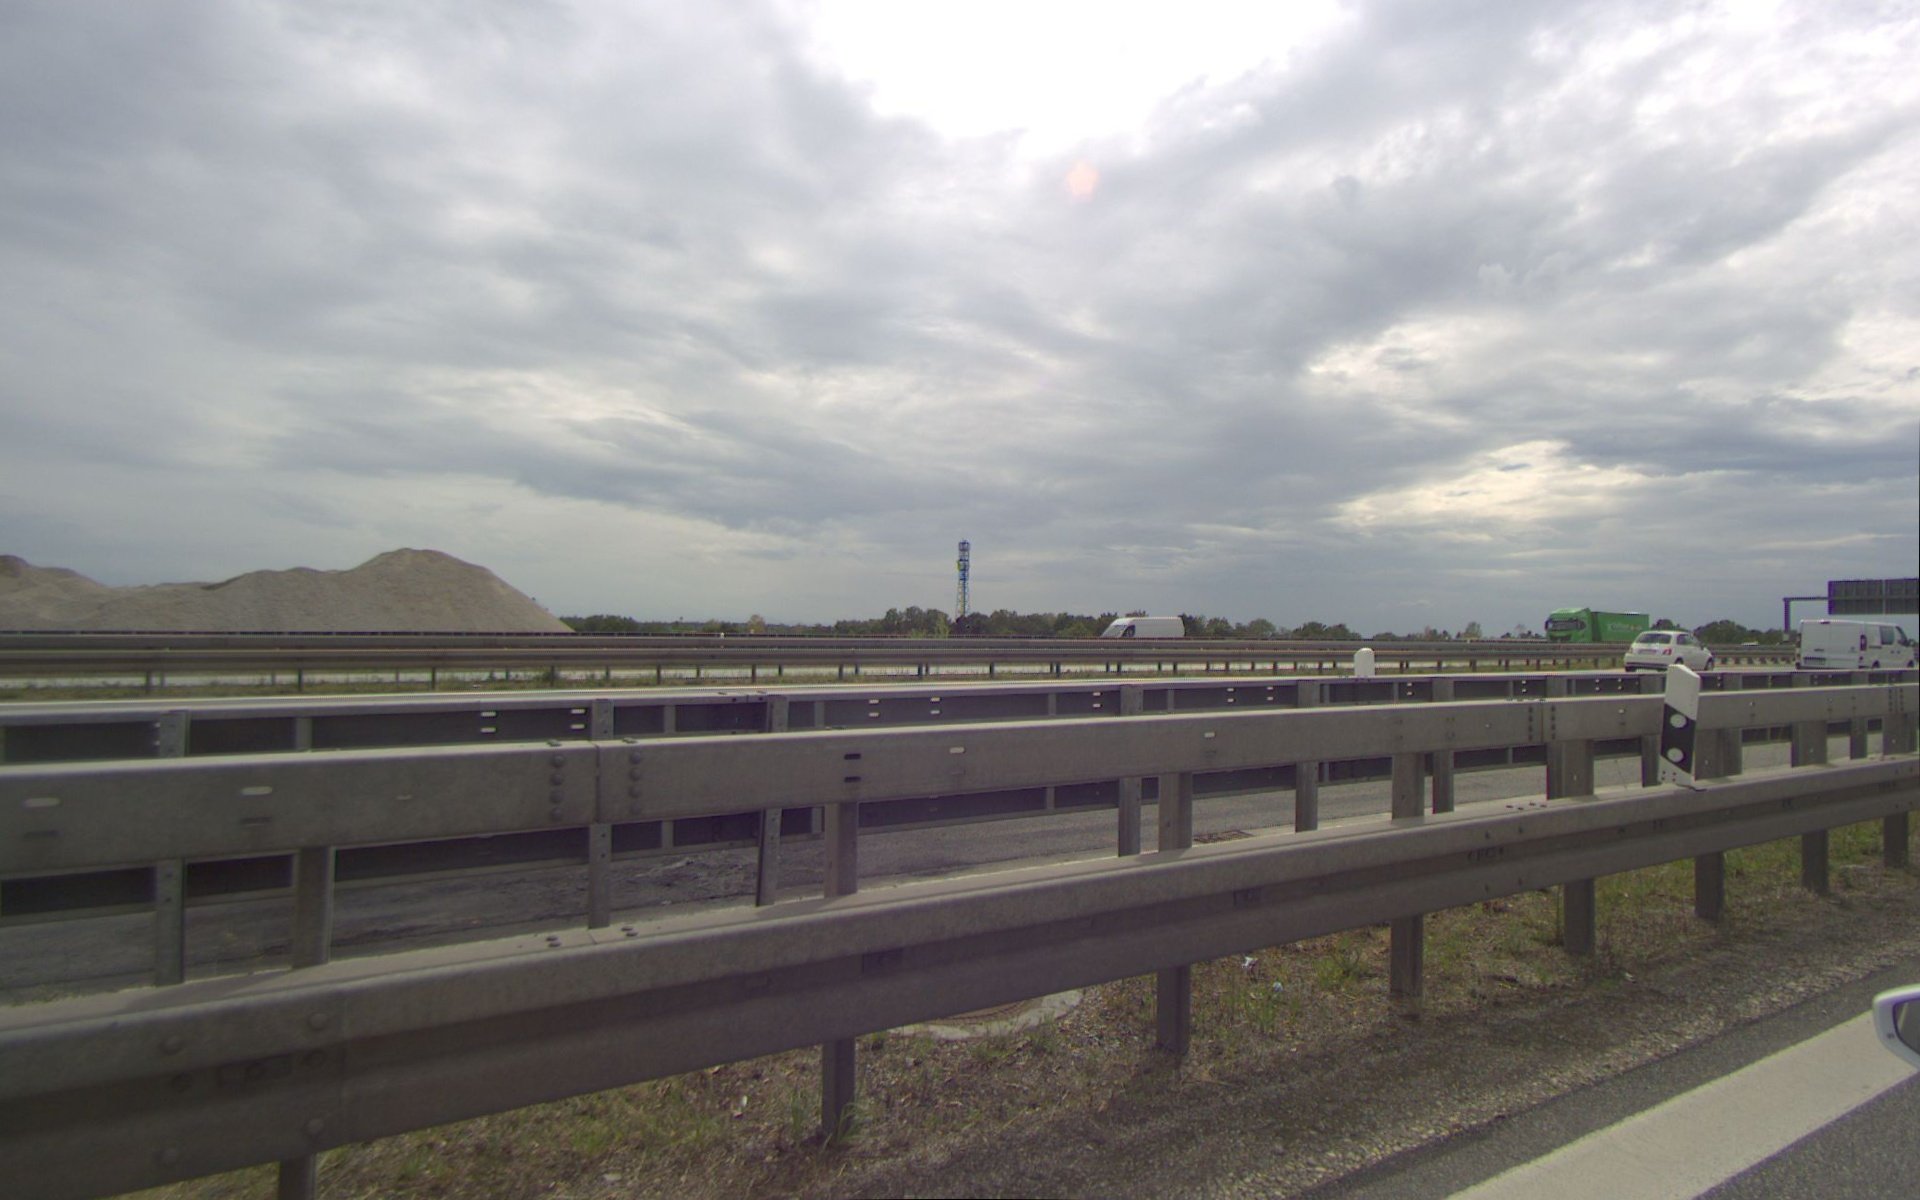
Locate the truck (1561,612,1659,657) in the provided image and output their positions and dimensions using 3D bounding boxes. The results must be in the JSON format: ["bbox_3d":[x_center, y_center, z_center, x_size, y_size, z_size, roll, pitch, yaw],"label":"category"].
[{"bbox_3d":[56.389,2.996,87.053,10.320,3.683,2.997,2,0,-32],"label":"truck"}]

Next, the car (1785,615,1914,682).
[{"bbox_3d":[29.382,1.582,33.153,4.324,2.040,1.983,2,0,-31],"label":"car"}]

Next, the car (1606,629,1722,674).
[{"bbox_3d":[24.503,1.773,34.925,3.952,1.439,1.789,2,0,-30],"label":"car"}]

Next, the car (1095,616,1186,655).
[{"bbox_3d":[11.153,2.184,61.941,5.455,2.253,2.185,2,0,-31],"label":"car"}]

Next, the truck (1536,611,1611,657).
[{"bbox_3d":[51.223,2.849,83.823,5.828,3.657,3.025,2,-1,-32],"label":"truck"}]
